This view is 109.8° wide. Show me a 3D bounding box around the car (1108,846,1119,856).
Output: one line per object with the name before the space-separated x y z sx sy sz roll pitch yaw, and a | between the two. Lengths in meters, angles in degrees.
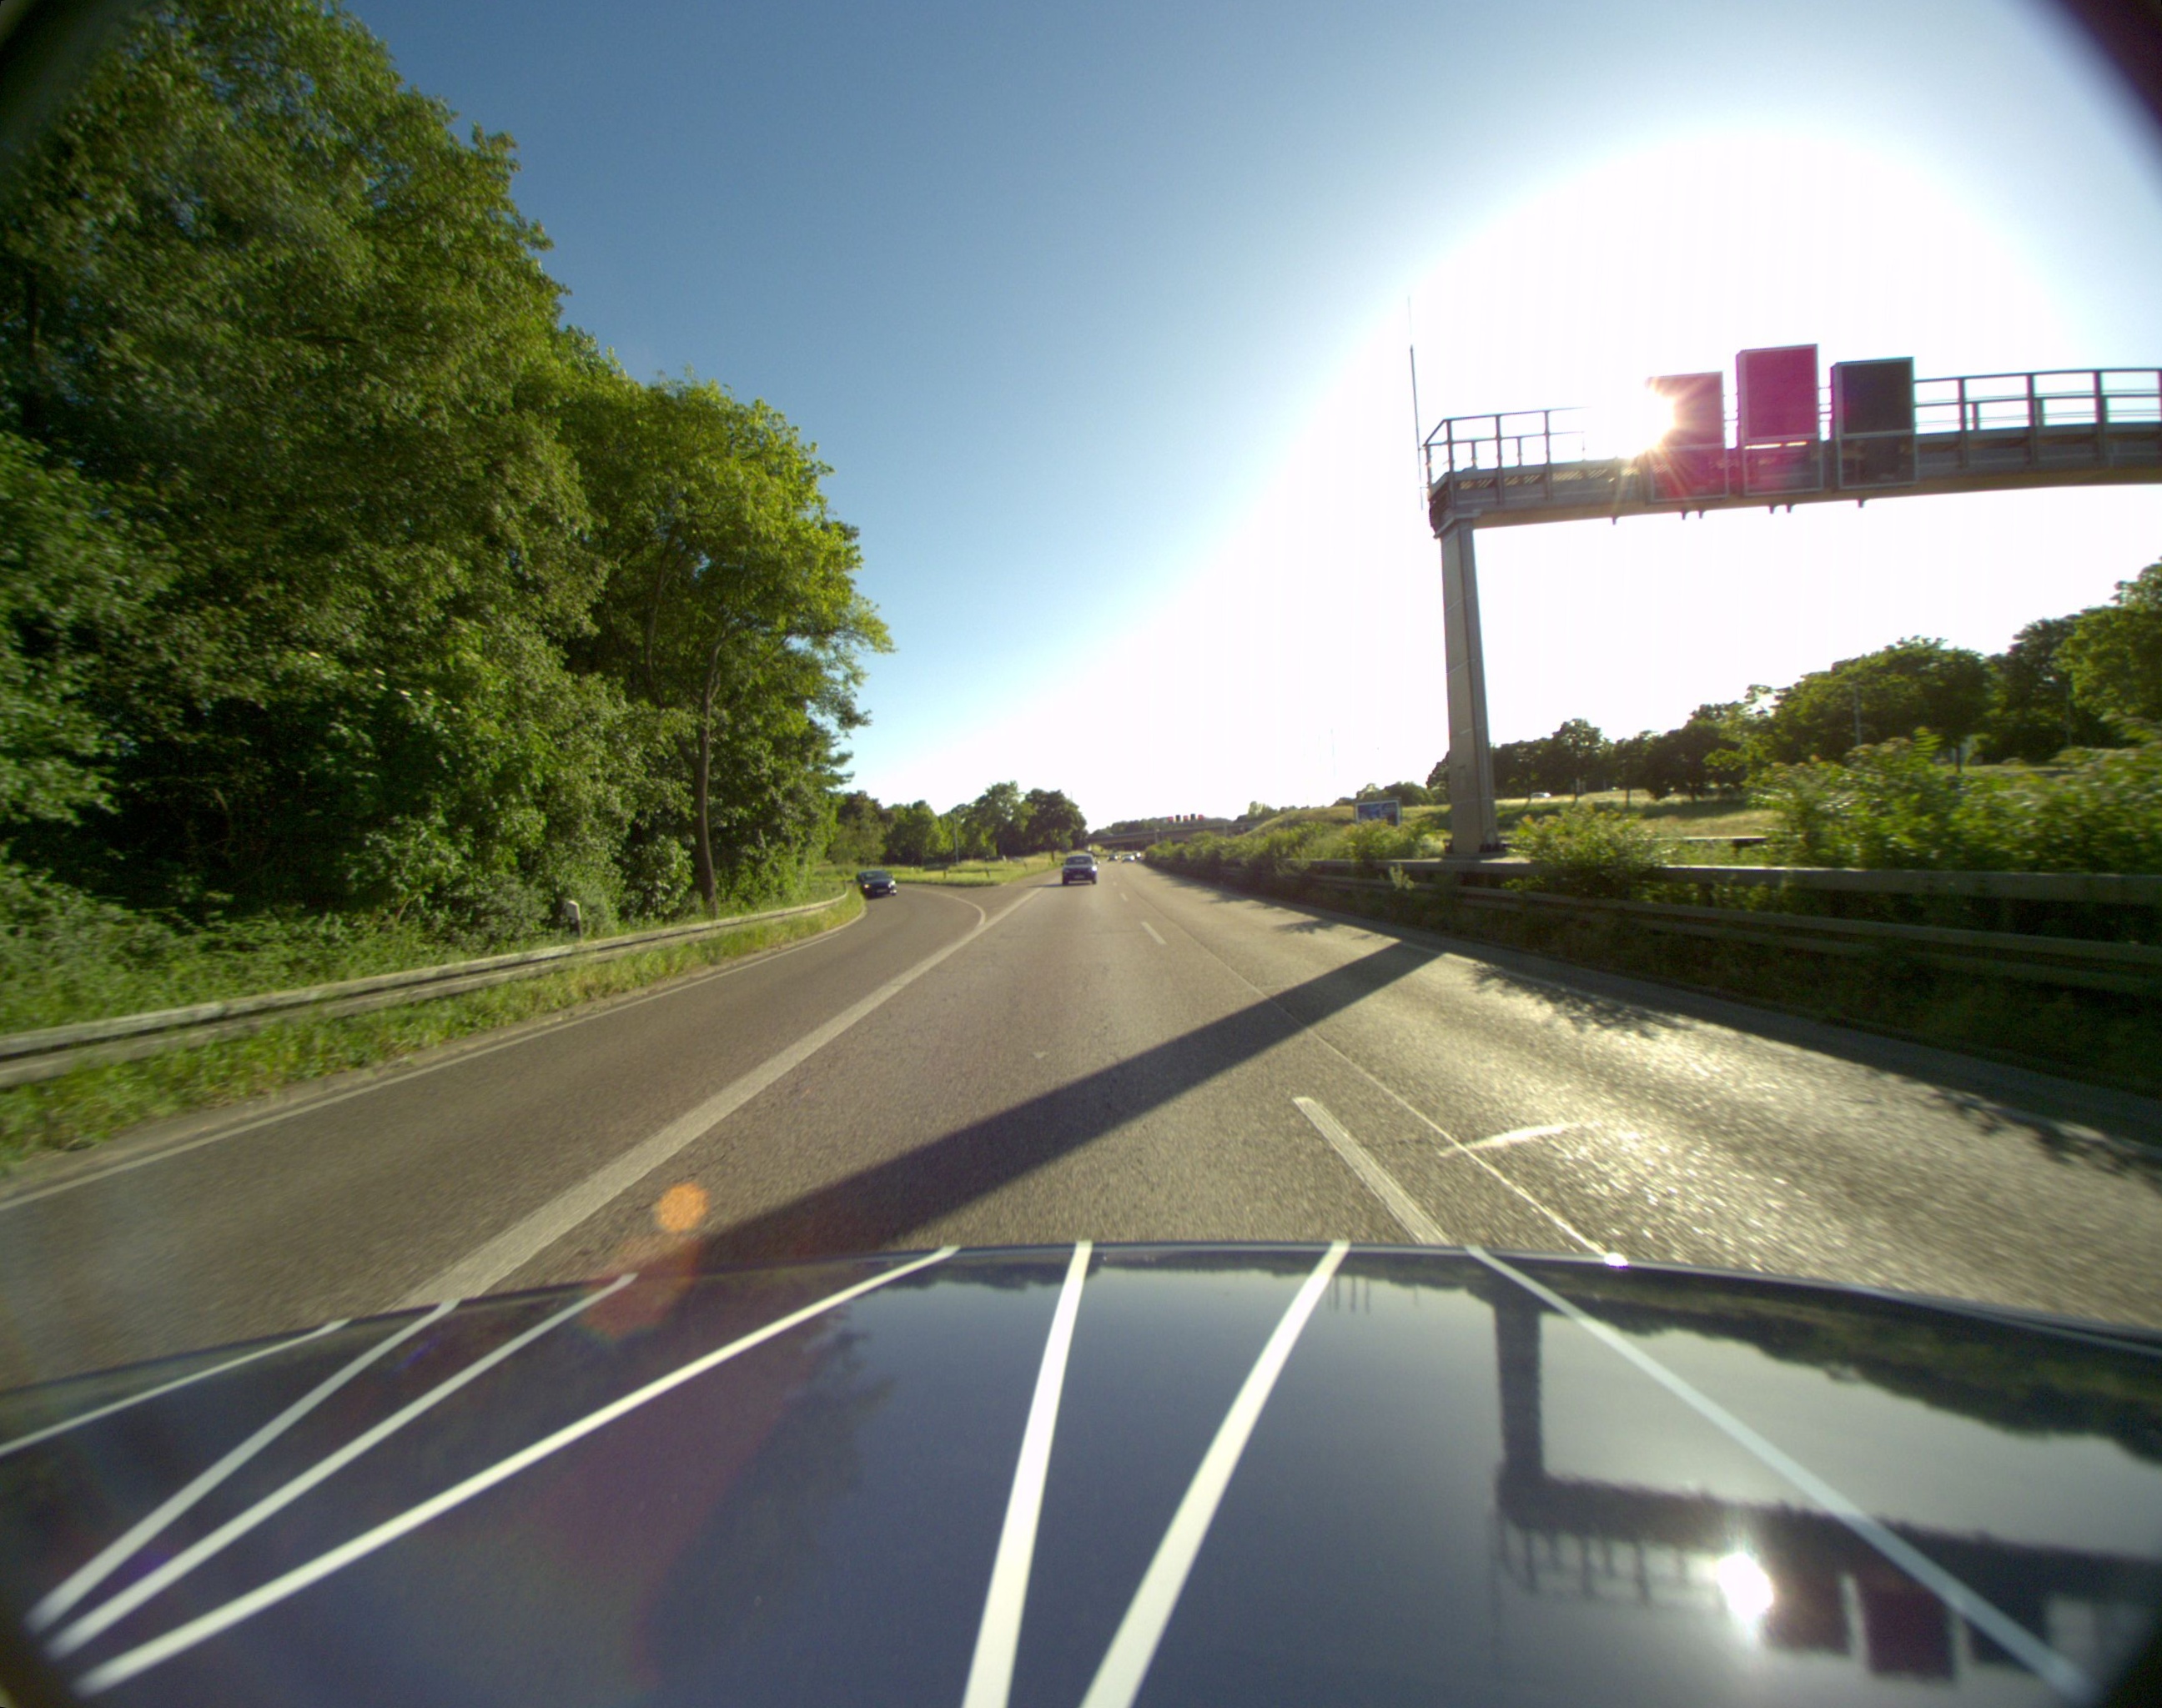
car | 6.061 -0.488 140.610 1.998 1.740 4.373 -2 1 2

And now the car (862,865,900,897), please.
car | -10.884 1.415 41.210 1.715 1.565 3.417 -2 1 -18

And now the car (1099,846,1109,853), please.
car | 5.875 -1.126 195.298 1.997 1.740 4.374 -2 1 7

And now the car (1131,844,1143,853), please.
car | 11.118 -1.169 151.084 1.998 1.740 4.373 -2 1 2

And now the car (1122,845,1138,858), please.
car | 7.499 -0.384 117.296 1.999 1.793 3.999 -2 1 -2

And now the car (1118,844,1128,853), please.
car | 9.482 -1.269 171.712 1.998 1.740 4.373 -2 1 2

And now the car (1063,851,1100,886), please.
car | 0.053 0.717 39.191 1.712 1.565 3.422 -5 1 1
